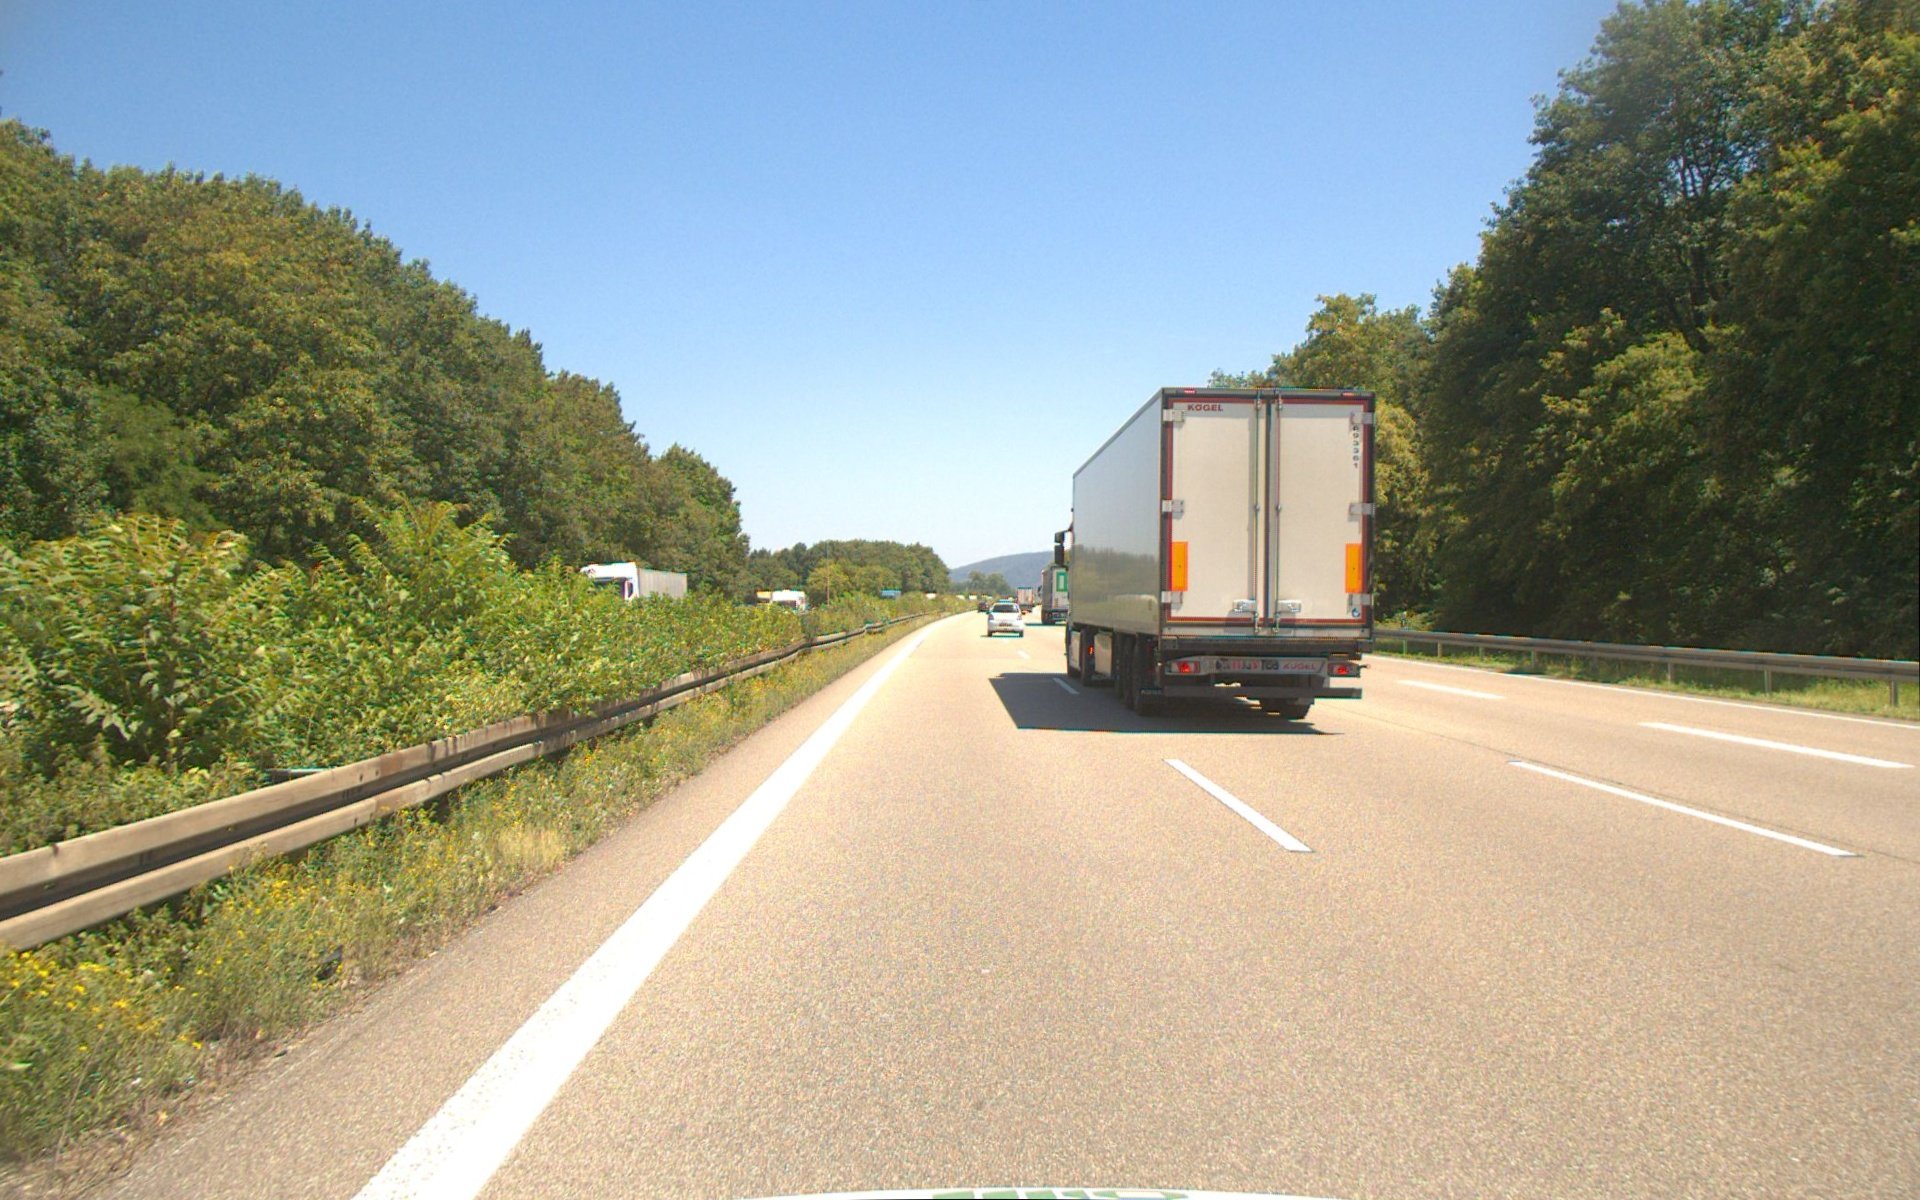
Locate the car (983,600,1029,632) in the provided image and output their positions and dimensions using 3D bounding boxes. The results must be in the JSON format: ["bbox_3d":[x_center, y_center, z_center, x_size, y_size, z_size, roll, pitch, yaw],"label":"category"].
[{"bbox_3d":[2.078,0.712,75.847,1.776,1.429,3.314,0,0,-4],"label":"car"}]

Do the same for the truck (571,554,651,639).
[{"bbox_3d":[-16.550,-0.147,78.747,2.831,3.890,4.884,0,0,-1],"label":"truck"}]

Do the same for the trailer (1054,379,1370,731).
[{"bbox_3d":[3.384,-0.565,26.084,3.157,4.216,12.351,0,0,0],"label":"trailer"}]

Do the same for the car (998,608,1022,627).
[{"bbox_3d":[3.630,1.239,120.345,1.634,1.312,4.000,0,0,0],"label":"car"}]

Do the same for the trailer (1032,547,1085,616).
[{"bbox_3d":[6.982,-1.282,119.197,3.116,4.708,12.049,0,0,0],"label":"trailer"}]

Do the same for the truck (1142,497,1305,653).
[{"bbox_3d":[8.107,-0.739,52.495,3.158,4.421,10.803,0,0,-2],"label":"truck"}]

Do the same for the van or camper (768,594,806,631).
[{"bbox_3d":[-15.613,1.078,149.795,2.370,3.166,9.087,-1,0,0],"label":"van or camper"}]

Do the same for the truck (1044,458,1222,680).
[{"bbox_3d":[3.418,-0.597,33.885,3.162,4.230,4.559,0,0,0],"label":"truck"}]

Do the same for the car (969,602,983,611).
[{"bbox_3d":[2.531,0.937,254.862,1.845,1.373,4.464,0,0,-4],"label":"car"}]
